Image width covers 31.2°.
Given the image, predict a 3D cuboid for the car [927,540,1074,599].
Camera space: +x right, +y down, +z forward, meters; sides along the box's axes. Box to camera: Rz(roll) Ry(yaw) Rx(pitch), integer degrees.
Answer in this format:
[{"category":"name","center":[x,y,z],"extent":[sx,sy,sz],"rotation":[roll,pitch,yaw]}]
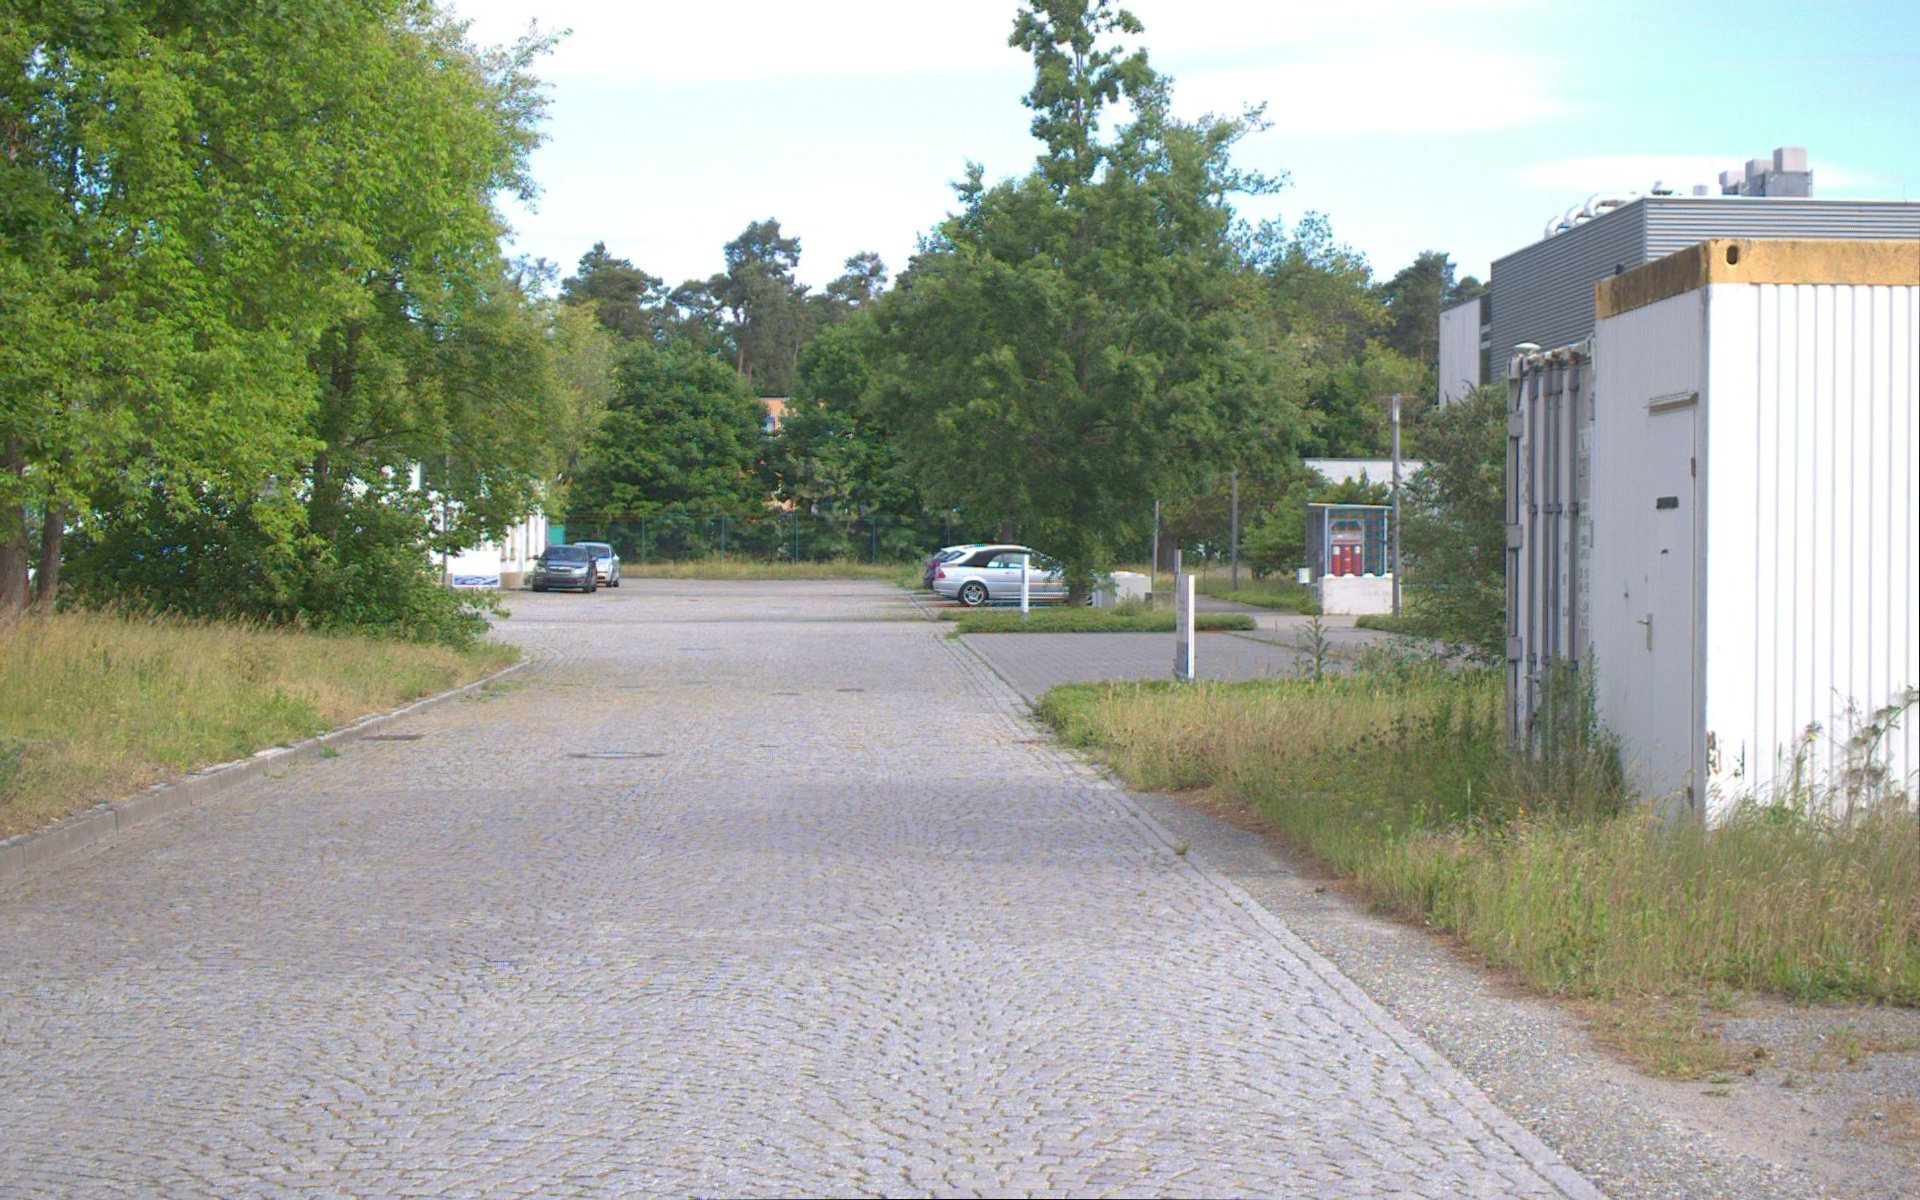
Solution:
[{"category":"car","center":[0.974,-0.751,83.971],"extent":[3.522,1.357,1.622],"rotation":[-1,1,-1]}]

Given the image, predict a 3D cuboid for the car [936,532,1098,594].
[{"category":"car","center":[1.418,-0.948,86.676],"extent":[3.984,1.443,1.653],"rotation":[-1,1,-1]}]

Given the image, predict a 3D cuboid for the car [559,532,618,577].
[{"category":"car","center":[-12.464,-1.546,115.512],"extent":[1.647,1.453,3.998],"rotation":[1,1,-2]}]

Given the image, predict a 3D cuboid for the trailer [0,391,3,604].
[{"category":"trailer","center":[-17.513,-1.656,52.978],"extent":[2.625,3.585,10.177],"rotation":[1,1,0]}]

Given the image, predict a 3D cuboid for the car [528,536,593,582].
[{"category":"car","center":[-12.200,-1.272,105.175],"extent":[1.647,1.364,3.998],"rotation":[1,1,-2]}]

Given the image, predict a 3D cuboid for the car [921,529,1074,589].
[{"category":"car","center":[0.993,-1.094,91.797],"extent":[3.984,1.470,1.653],"rotation":[-2,1,-1]}]
